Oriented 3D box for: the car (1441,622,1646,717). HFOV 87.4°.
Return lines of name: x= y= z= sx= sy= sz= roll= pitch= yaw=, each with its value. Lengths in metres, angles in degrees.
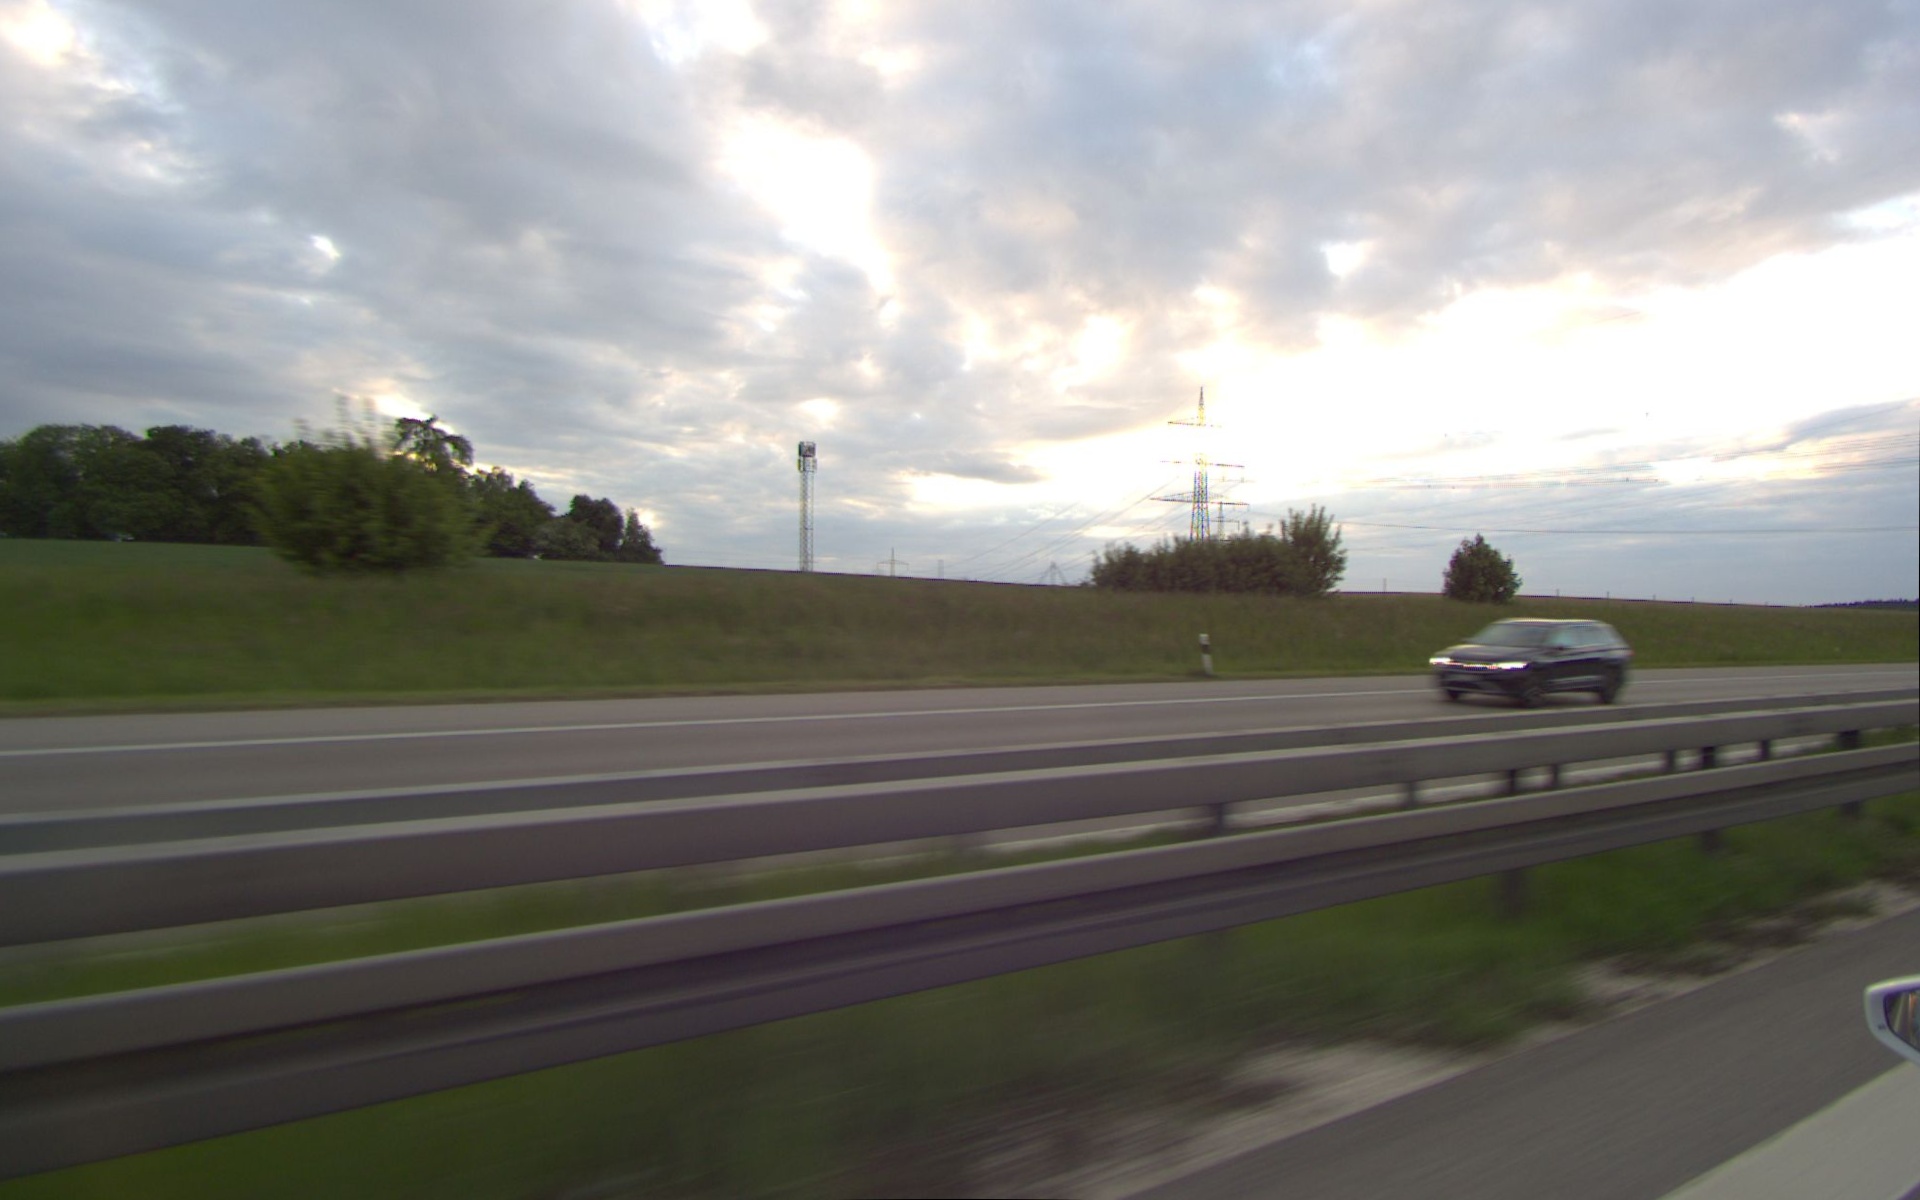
car: x=11.839 y=1.345 z=20.298 sx=4.413 sy=1.686 sz=1.688 roll=2 pitch=0 yaw=-32
